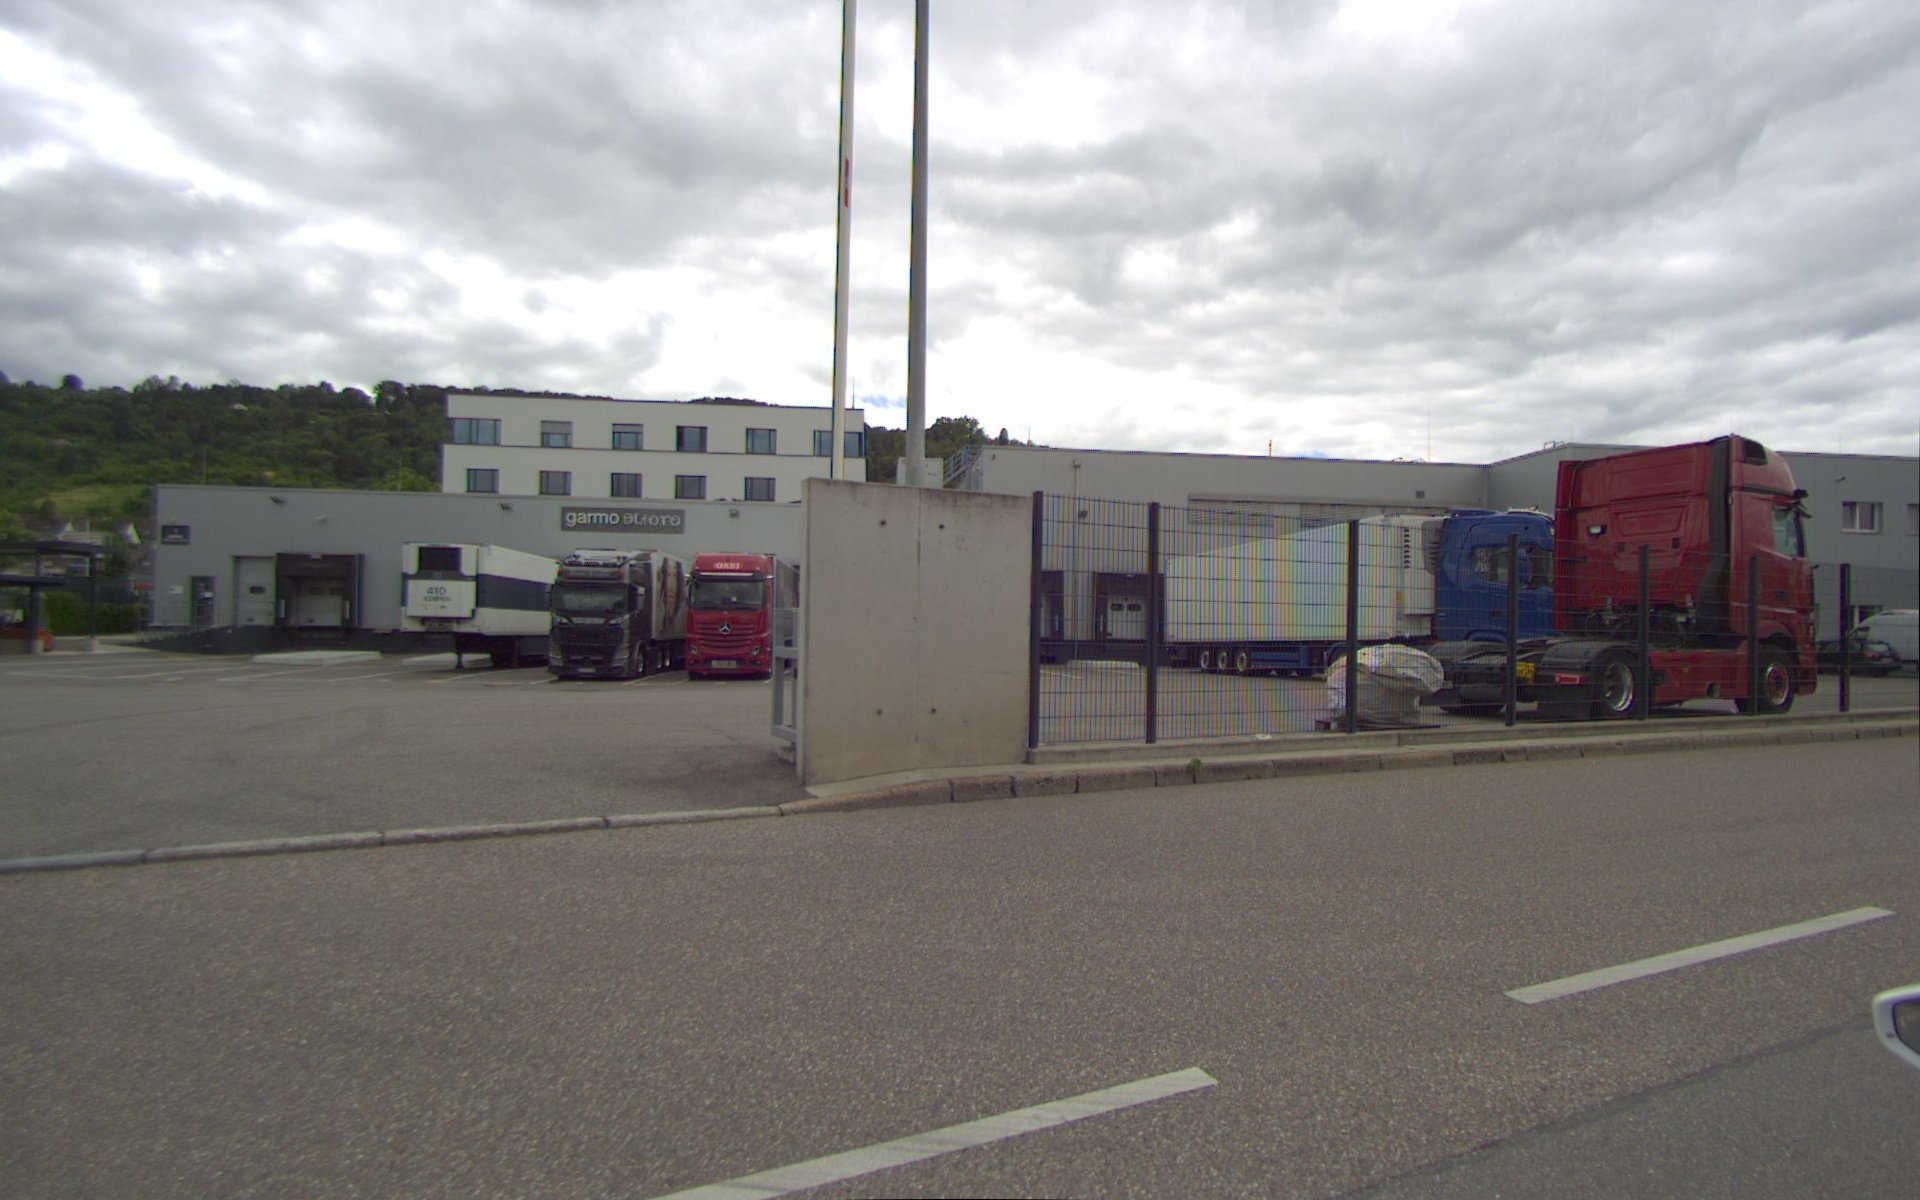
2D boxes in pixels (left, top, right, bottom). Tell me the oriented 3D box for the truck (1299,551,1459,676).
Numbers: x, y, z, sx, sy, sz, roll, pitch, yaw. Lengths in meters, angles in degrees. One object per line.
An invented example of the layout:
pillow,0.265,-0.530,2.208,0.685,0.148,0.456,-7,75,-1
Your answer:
truck,14.427,0.516,35.123,2.749,3.980,5.922,1,-1,-5

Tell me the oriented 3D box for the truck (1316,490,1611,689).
truck,11.693,-0.154,23.659,2.908,4.073,5.549,2,-1,-40

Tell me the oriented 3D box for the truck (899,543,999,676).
truck,-0.501,0.362,33.439,2.750,3.980,5.921,1,-1,-6

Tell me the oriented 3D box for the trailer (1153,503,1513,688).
trailer,10.039,0.050,30.152,2.984,4.239,13.986,1,-1,-13

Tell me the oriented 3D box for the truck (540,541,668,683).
truck,-10.949,0.406,31.279,2.750,4.093,4.162,1,-1,-6

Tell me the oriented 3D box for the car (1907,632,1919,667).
car,43.859,2.189,43.360,1.963,1.572,3.996,1,-1,-7

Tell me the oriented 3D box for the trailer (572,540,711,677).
trailer,-11.644,0.412,37.933,2.740,4.357,11.172,1,-1,-6

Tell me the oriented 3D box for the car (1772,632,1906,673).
car,37.082,2.188,42.520,1.963,1.572,3.996,1,-1,-7

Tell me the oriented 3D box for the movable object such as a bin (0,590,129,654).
movable object such as a bin,-33.832,0.813,36.923,4.520,2.255,2.076,1,-1,-12

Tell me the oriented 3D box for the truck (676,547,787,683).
truck,-7.289,0.522,32.815,2.750,3.980,5.921,1,-1,-6

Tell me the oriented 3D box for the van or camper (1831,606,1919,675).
van or camper,39.825,1.682,42.047,2.065,2.799,4.982,1,-1,-7

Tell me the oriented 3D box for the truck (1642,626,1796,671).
truck,30.264,1.882,40.290,2.186,1.673,4.925,1,-1,-6

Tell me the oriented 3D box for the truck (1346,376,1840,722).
truck,9.265,-0.501,14.630,6.849,4.073,2.913,2,-1,-26

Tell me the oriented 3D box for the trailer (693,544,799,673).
trailer,-7.837,0.429,38.195,2.740,4.131,10.987,1,-1,-6

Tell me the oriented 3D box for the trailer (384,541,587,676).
trailer,-16.769,0.410,36.730,3.033,4.131,11.400,1,-1,-6
